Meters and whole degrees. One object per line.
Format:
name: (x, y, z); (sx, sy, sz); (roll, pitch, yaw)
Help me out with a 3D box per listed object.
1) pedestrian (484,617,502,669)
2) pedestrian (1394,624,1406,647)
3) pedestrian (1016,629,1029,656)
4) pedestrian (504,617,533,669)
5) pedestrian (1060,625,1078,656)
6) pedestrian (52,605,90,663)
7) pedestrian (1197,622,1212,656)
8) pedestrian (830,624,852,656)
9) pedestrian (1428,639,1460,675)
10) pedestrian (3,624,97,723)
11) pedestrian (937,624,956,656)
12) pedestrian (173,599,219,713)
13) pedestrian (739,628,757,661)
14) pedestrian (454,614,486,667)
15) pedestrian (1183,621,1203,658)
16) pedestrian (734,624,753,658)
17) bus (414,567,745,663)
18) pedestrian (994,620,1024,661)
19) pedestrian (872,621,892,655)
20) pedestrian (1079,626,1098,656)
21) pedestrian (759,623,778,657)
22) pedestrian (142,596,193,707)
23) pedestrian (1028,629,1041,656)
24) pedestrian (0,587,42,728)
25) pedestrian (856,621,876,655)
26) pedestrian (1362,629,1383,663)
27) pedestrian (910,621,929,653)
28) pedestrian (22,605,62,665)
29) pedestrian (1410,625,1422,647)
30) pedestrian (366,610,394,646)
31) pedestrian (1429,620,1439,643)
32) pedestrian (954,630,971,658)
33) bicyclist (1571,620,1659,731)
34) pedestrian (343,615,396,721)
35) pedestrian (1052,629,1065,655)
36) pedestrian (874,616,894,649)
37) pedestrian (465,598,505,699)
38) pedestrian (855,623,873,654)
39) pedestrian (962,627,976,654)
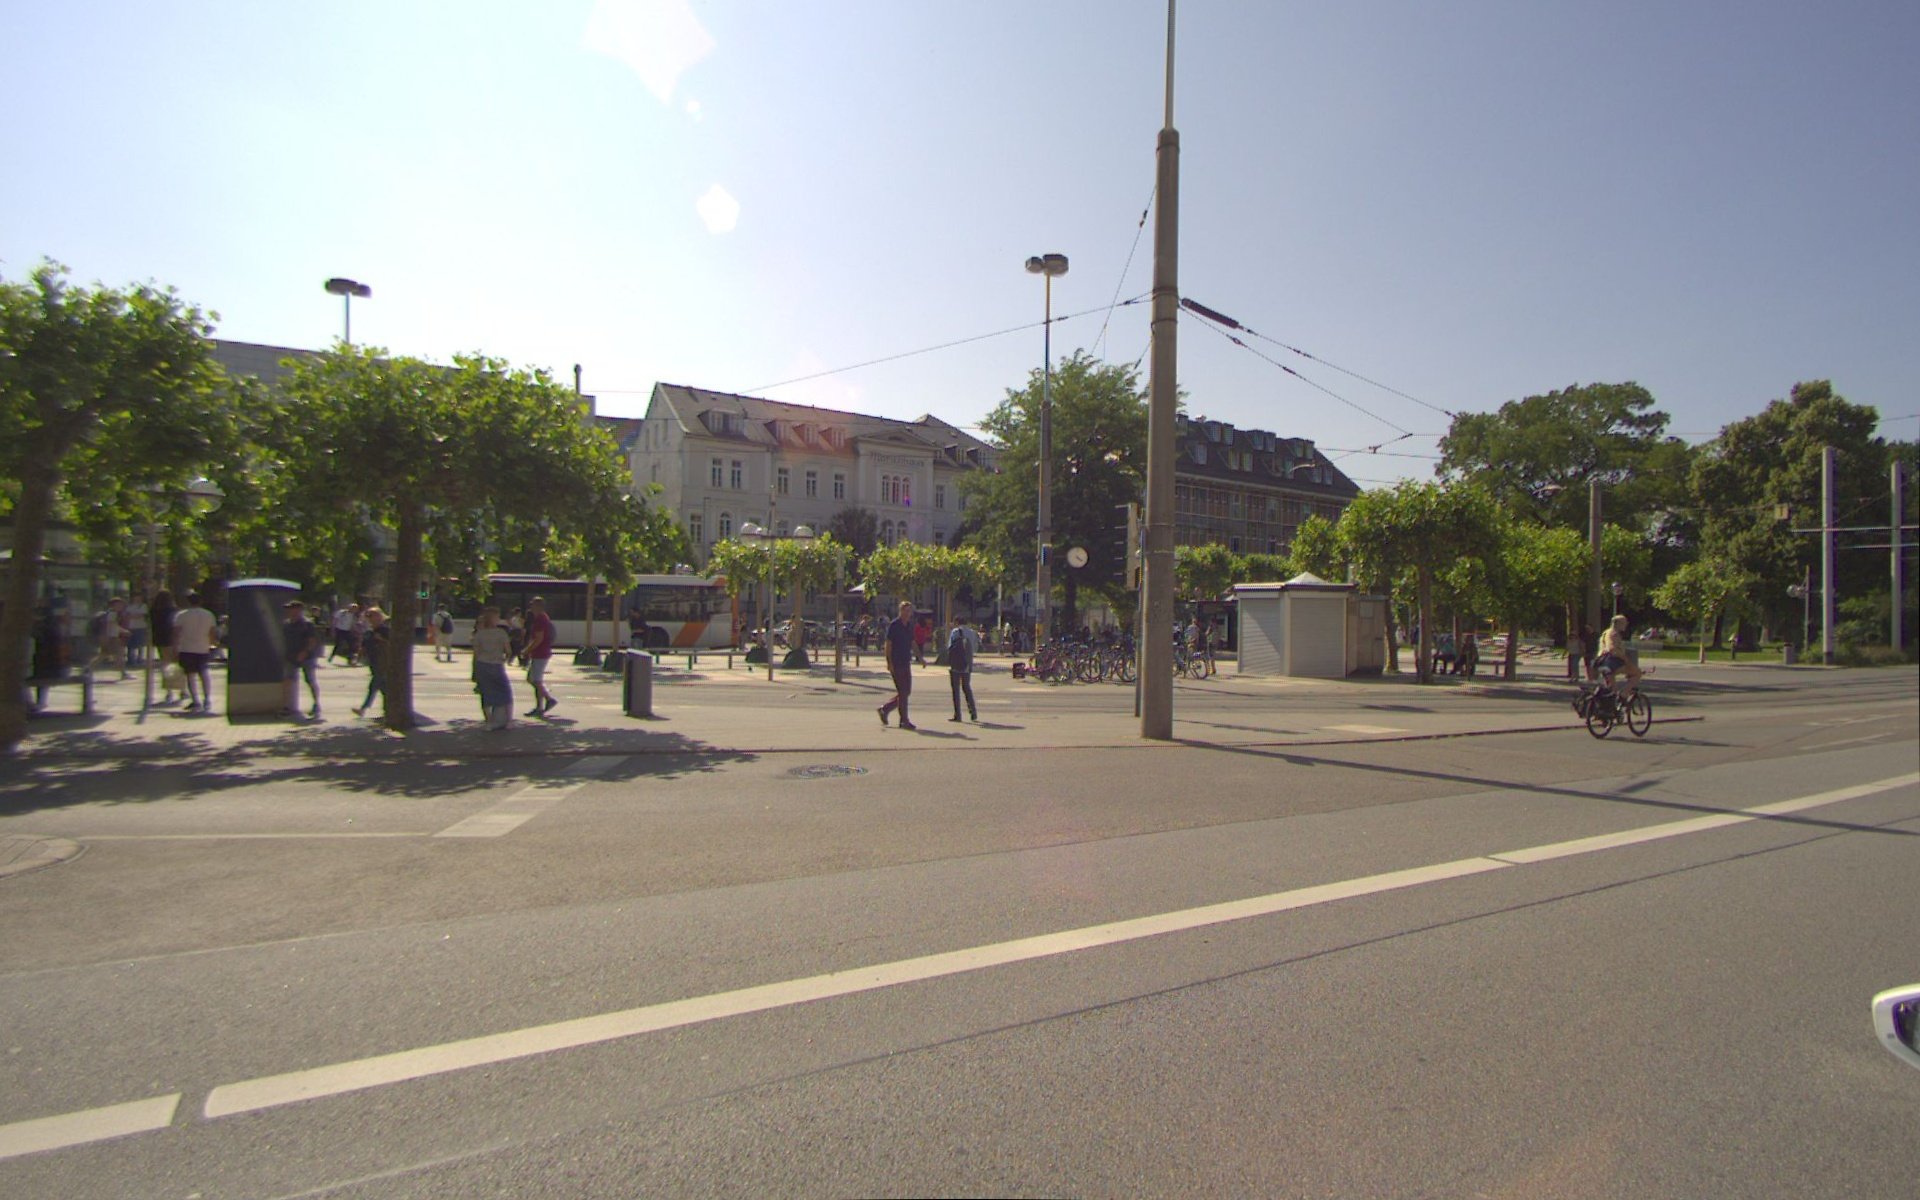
pedestrian: (-13.614, 1.251, 29.293); (0.412, 1.484, 0.402); (1, -3, -38)
pedestrian: (31.540, 2.533, 72.016); (0.616, 1.630, 0.488); (1, -3, -41)
pedestrian: (3.043, 2.076, 49.067); (0.445, 1.279, 0.517); (-1, -2, -14)
pedestrian: (-12.834, 1.261, 29.198); (0.518, 1.484, 0.586); (-3, -3, 40)
pedestrian: (5.390, 1.989, 49.599); (0.670, 1.485, 0.623); (1, -1, -18)
pedestrian: (-24.656, 0.938, 27.854); (0.569, 1.569, 0.678); (-3, -3, 35)
pedestrian: (12.969, 2.070, 53.226); (0.537, 1.771, 0.630); (-2, -3, 37)
pedestrian: (-5.629, 1.884, 47.551); (0.735, 1.484, 0.782); (1, -3, -36)
pedestrian: (16.527, 1.946, 34.296); (0.746, 1.186, 0.670); (1, -3, -37)
pedestrian: (-13.201, 1.063, 14.580); (0.787, 1.389, 0.681); (-2, -2, 16)
pedestrian: (-0.657, 1.888, 47.592); (0.671, 1.484, 0.621); (0, -3, -26)
pedestrian: (-11.890, 0.868, 15.651); (0.503, 1.741, 0.479); (0, -3, -31)
pedestrian: (-9.932, 2.086, 47.019); (0.672, 1.484, 0.621); (0, -3, -28)
pedestrian: (-14.091, 1.172, 28.885); (0.671, 1.484, 0.621); (-3, -3, 44)
pedestrian: (9.528, 1.604, 41.057); (0.667, 1.484, 0.625); (-2, -2, 23)
pedestrian: (-9.545, 1.794, 44.220); (0.672, 1.484, 0.621); (0, -3, -28)
bus: (-15.124, 0.617, 41.149); (12.242, 3.465, 3.059); (2, 1, -12)
pedestrian: (2.268, 1.868, 46.306); (1.065, 1.817, 0.963); (0, -2, -22)
pedestrian: (-3.521, 1.714, 45.354); (0.674, 1.484, 0.619); (1, -3, -36)
pedestrian: (6.364, 2.022, 49.641); (0.671, 1.484, 0.621); (0, -3, -26)
pedestrian: (-8.369, 1.754, 43.971); (0.578, 1.484, 0.559); (-3, -3, 40)
pedestrian: (-13.478, 0.870, 17.100); (0.598, 1.839, 0.573); (0, -3, -31)
pedestrian: (3.668, 2.092, 49.408); (0.445, 1.279, 0.517); (-1, -2, -14)
pedestrian: (-12.662, 0.753, 13.175); (0.612, 1.817, 0.681); (-2, -2, 17)
pedestrian: (-4.202, 1.702, 44.800); (0.673, 1.484, 0.619); (0, -3, -34)
pedestrian: (21.256, 2.346, 51.766); (0.697, 1.728, 0.673); (1, -2, -32)
pedestrian: (-1.907, 1.764, 47.316); (0.671, 1.484, 0.621); (0, -3, -26)
pedestrian: (-24.644, 0.948, 26.972); (0.569, 1.569, 0.678); (-3, -3, 35)
pedestrian: (32.484, 2.574, 71.518); (0.656, 1.512, 0.520); (1, -3, -39)
pedestrian: (-25.348, 1.232, 43.880); (0.669, 1.569, 0.846); (-3, -3, 33)
pedestrian: (32.725, 2.184, 69.417); (0.491, 1.630, 0.410); (1, -3, -40)
pedestrian: (0.132, 2.041, 46.218); (0.573, 1.279, 0.620); (0, -2, -22)
bicyclist: (10.090, 1.134, 15.477); (0.892, 1.643, 0.813); (0, -1, -31)
pedestrian: (-8.862, 1.013, 15.082); (0.672, 1.544, 0.620); (0, -3, -31)
pedestrian: (4.834, 2.060, 49.237); (0.445, 1.279, 0.517); (-1, -2, -14)
pedestrian: (-3.535, 1.492, 46.452); (0.674, 1.484, 0.618); (1, -3, -38)
pedestrian: (-9.756, 0.982, 20.611); (0.560, 2.034, 0.685); (1, -1, -40)
pedestrian: (-4.609, 1.855, 48.383); (0.620, 1.484, 0.577); (1, -3, -43)
pedestrian: (0.429, 1.959, 48.314); (0.447, 1.279, 0.515); (0, -3, -26)
